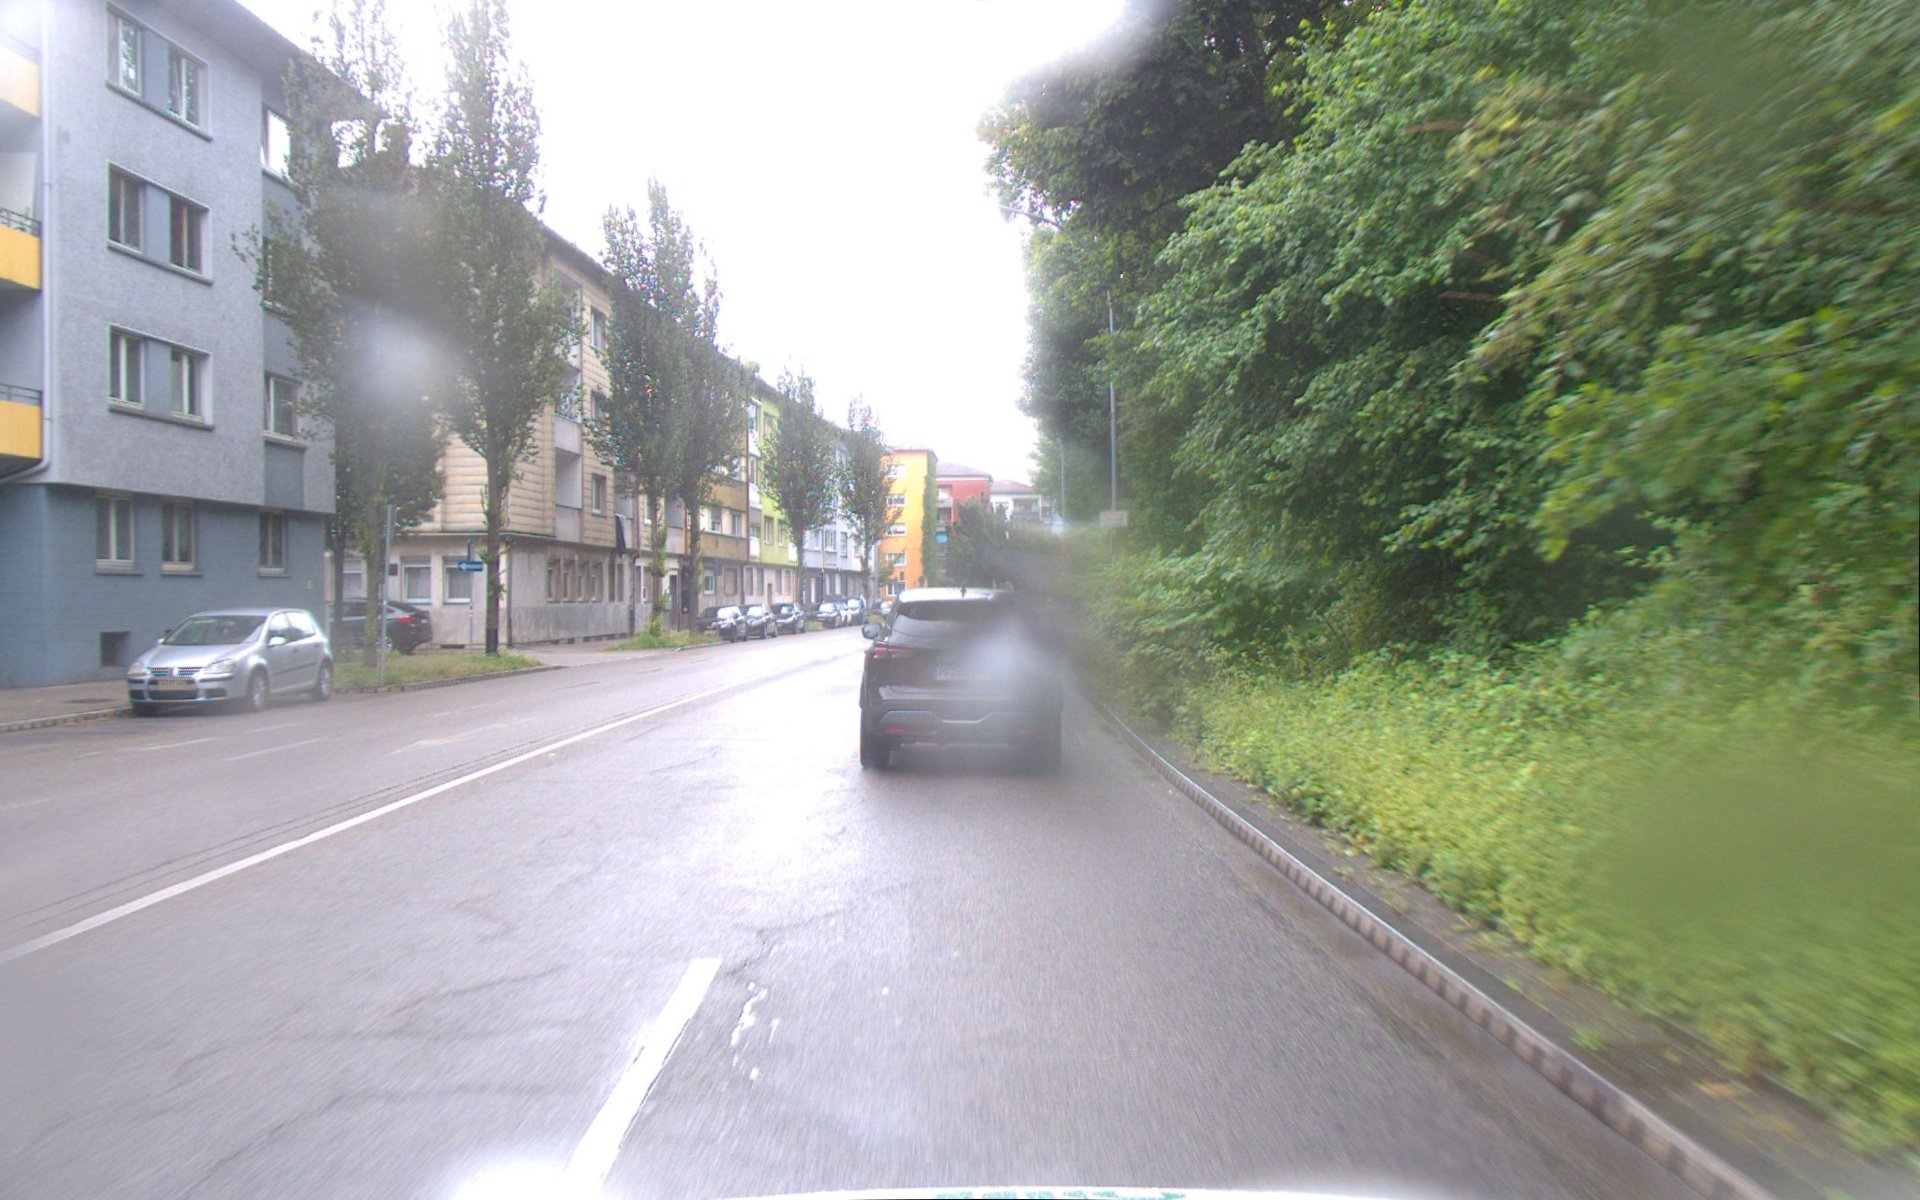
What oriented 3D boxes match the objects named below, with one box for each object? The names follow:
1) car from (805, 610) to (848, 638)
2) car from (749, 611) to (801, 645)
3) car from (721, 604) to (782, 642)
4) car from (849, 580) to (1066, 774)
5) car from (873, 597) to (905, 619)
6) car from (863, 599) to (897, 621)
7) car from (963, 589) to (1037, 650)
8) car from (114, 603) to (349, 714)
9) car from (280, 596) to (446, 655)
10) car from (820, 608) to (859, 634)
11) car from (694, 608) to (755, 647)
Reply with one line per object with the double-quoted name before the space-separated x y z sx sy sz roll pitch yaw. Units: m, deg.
"car" -7.369 1.311 91.658 1.779 1.396 4.682 -2 0 2
"car" -8.904 1.333 80.020 1.682 1.514 4.517 -2 0 3
"car" -8.977 0.968 71.494 1.779 1.514 4.791 -2 0 2
"car" -0.066 0.636 15.938 1.807 1.610 3.999 1 0 -1
"car" -5.161 0.575 121.257 1.645 1.474 4.279 -3 0 6
"car" -5.573 0.719 115.963 1.653 1.381 4.582 -4 0 5
"car" 1.237 0.556 49.430 1.847 1.741 4.003 0 0 6
"car" -10.748 0.797 24.747 1.689 1.478 4.204 -1 0 -1
"car" -17.237 0.722 47.857 4.062 1.606 1.927 -1 1 3
"car" -7.120 1.251 97.857 1.645 1.400 4.002 -3 0 4
"car" -9.175 1.061 64.751 1.592 1.411 3.990 -1 0 3
